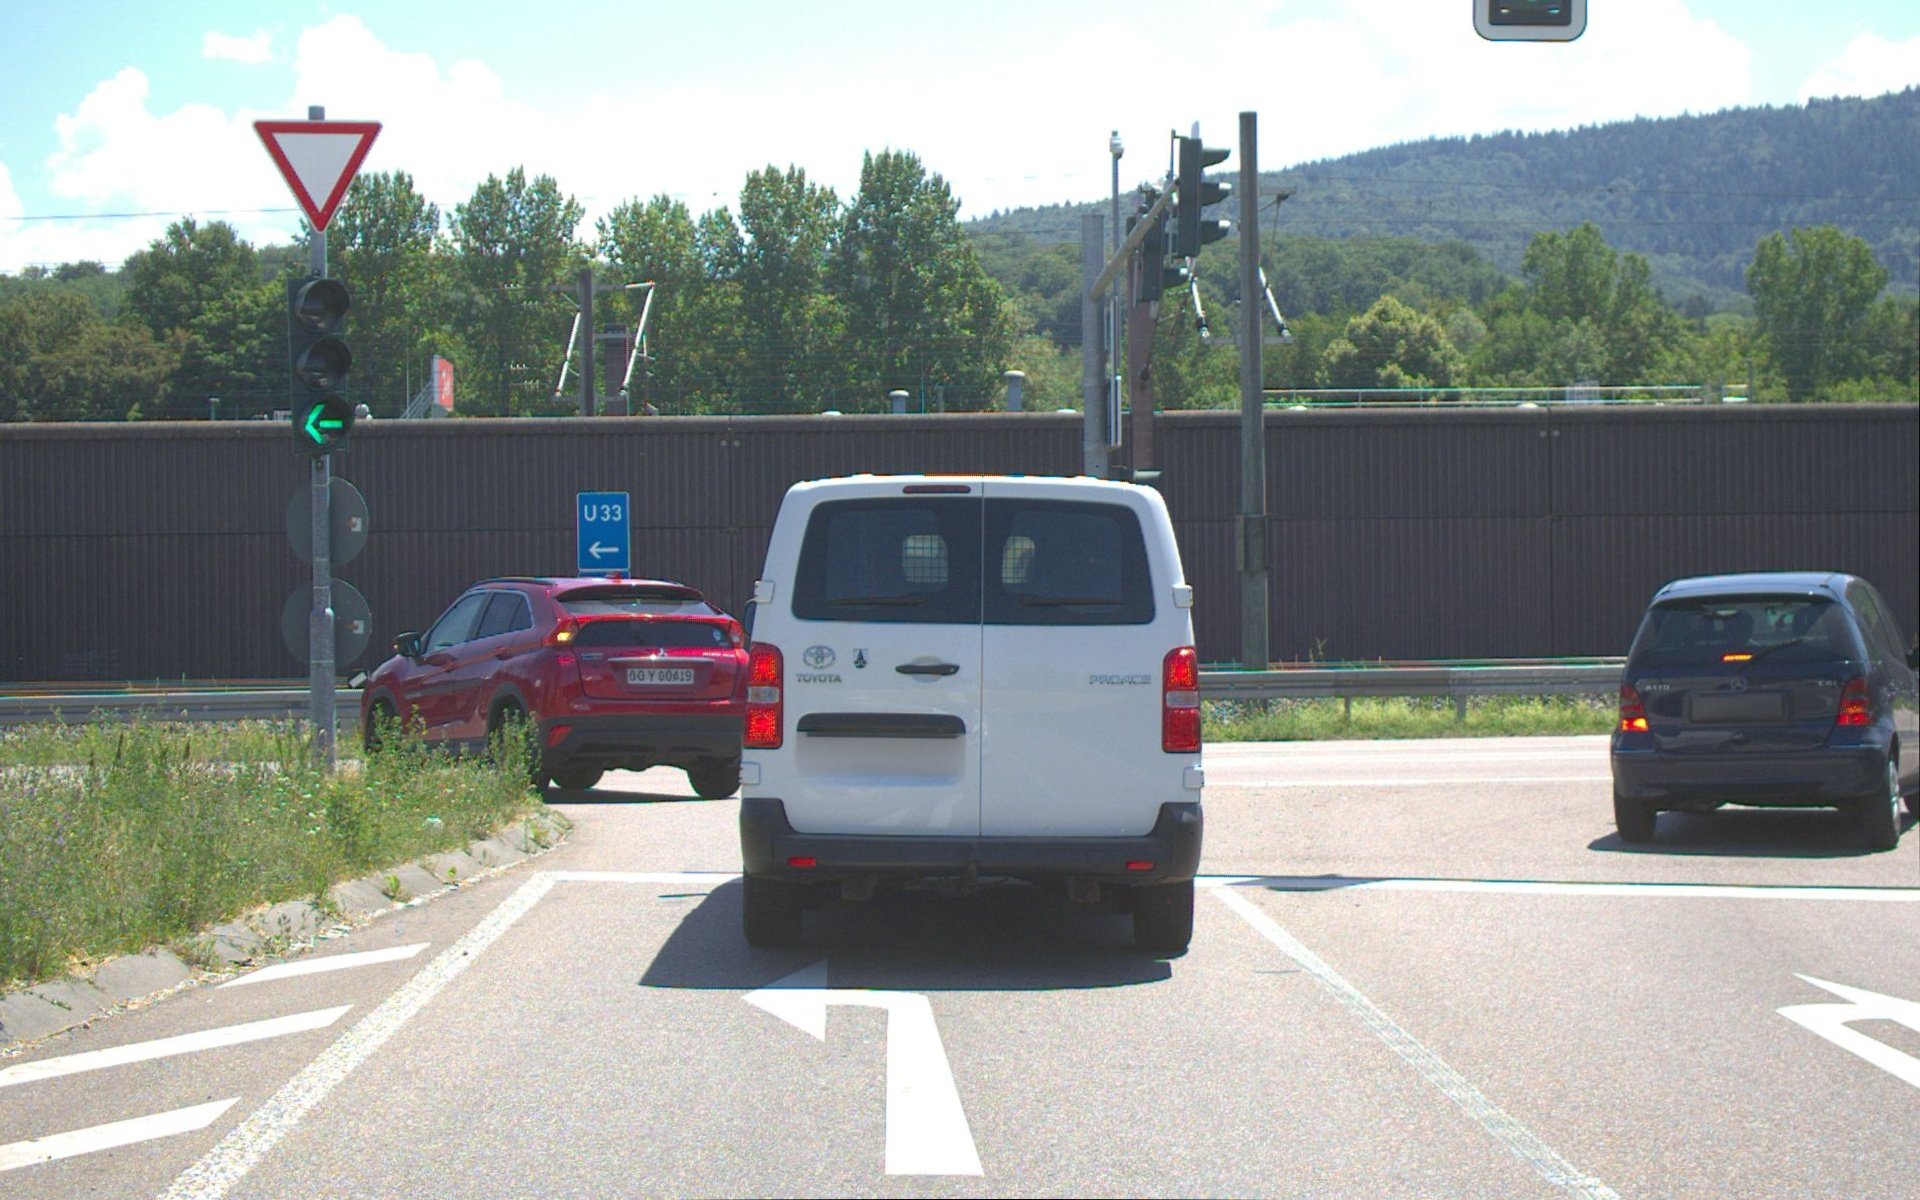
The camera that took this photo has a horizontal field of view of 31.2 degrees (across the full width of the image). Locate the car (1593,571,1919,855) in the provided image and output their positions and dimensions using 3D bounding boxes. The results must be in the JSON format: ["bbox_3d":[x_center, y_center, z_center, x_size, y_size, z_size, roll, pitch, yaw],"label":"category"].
[{"bbox_3d":[5.128,0.640,21.483,1.640,1.591,3.557,1,0,21],"label":"car"}]

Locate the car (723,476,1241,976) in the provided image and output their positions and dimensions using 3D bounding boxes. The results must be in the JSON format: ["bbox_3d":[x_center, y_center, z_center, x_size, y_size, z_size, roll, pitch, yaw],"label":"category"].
[{"bbox_3d":[-0.049,0.467,15.496,1.945,1.875,4.881,1,0,-3],"label":"car"}]

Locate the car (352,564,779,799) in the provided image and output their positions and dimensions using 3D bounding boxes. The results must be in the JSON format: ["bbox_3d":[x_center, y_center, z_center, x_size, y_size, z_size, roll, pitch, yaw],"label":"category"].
[{"bbox_3d":[-3.113,0.620,26.366,1.905,1.644,4.141,0,-1,-27],"label":"car"}]

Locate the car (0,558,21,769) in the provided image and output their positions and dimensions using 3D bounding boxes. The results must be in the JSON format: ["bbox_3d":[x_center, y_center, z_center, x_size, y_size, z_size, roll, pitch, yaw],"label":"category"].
[{"bbox_3d":[-11.644,0.648,32.958,4.771,2.015,2.012,-1,-1,19],"label":"car"}]
